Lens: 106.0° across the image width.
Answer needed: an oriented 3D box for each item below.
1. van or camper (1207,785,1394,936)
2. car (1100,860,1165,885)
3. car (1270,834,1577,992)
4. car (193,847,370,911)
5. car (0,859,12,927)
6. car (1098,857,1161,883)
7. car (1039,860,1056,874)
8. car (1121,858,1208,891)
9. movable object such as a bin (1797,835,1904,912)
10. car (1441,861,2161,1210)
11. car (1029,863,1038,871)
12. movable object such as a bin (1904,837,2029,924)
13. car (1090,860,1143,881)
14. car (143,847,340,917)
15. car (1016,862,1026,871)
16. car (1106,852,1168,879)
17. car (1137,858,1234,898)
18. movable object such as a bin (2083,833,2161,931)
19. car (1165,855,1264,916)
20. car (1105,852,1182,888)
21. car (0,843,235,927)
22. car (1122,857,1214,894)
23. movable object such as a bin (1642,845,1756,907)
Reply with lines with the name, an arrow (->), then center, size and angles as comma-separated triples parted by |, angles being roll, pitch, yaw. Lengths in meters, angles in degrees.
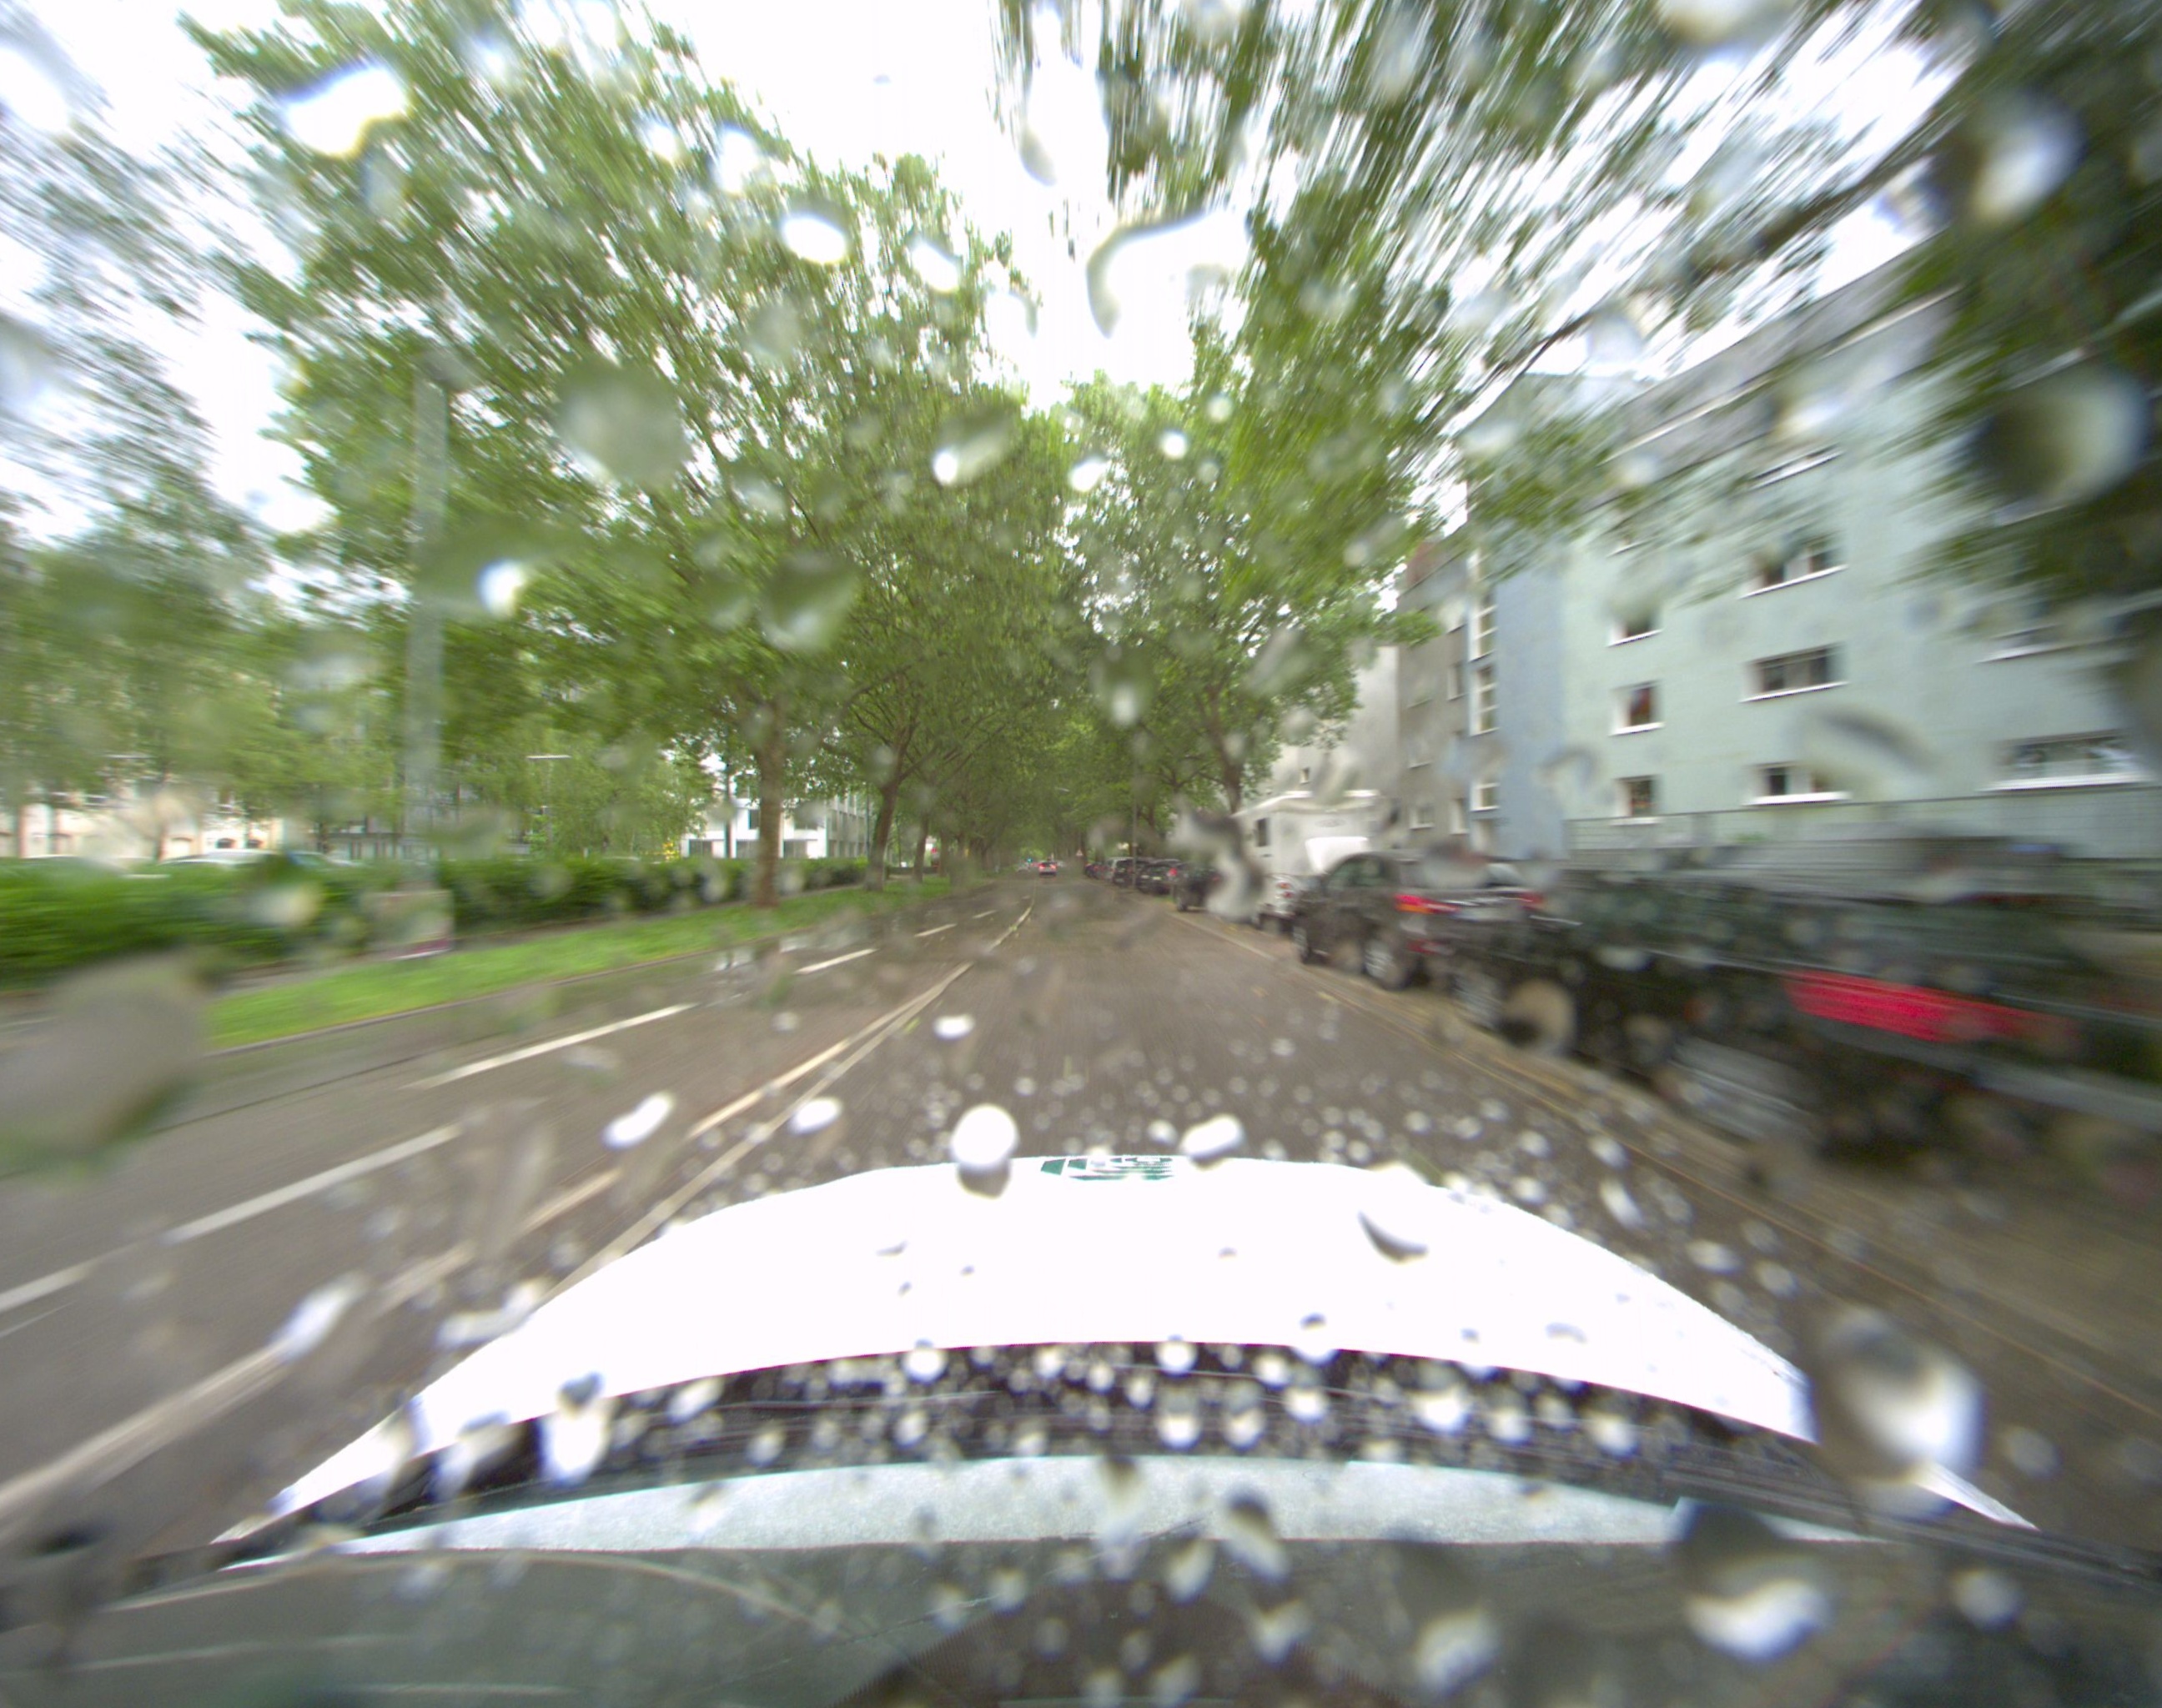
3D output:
van or camper -> 4.619, 0.145, 18.593 | 2.312, 2.807, 6.860 | 0, 0, -1
car -> 3.263, 1.187, 52.025 | 3.980, 1.513, 1.798 | 0, 0, -5
car -> 4.078, 0.674, 10.677 | 1.912, 1.620, 4.446 | 0, -2, -4
car -> -27.384, 0.818, 28.018 | 3.977, 2.013, 1.998 | -1, 0, -3
car -> -26.559, 0.877, 17.728 | 3.975, 1.551, 1.885 | 0, 0, -1
car -> 3.444, 1.134, 58.051 | 4.328, 1.762, 1.817 | 0, 0, -3
car -> -3.476, 1.343, 84.872 | 1.702, 1.411, 3.640 | -2, 0, -3
car -> 4.299, 1.027, 41.835 | 4.012, 1.601, 2.016 | 0, 0, -31
movable object such as a bin -> 15.843, 0.379, 16.790 | 1.163, 1.473, 1.215 | -3, 1, -21
car -> 4.096, 0.761, 5.422 | 1.544, 1.390, 4.148 | 0, 0, -1
car -> -9.480, 2.563, 163.318 | 1.702, 1.411, 3.640 | -2, 0, -3
movable object such as a bin -> 16.432, 0.465, 15.136 | 1.163, 1.473, 1.215 | -3, 1, -21
car -> 2.822, 1.336, 65.039 | 4.031, 1.441, 1.682 | -3, 0, -7
car -> -26.348, 0.843, 25.697 | 3.977, 2.013, 1.998 | -1, 0, -3
car -> -10.473, 2.141, 142.814 | 1.675, 1.388, 4.545 | -2, 0, -3
car -> 3.692, 0.767, 54.559 | 3.977, 1.727, 1.799 | 0, 0, -3
car -> 4.363, 0.961, 33.971 | 3.783, 1.601, 1.784 | 0, 0, -33
movable object such as a bin -> 17.243, 0.423, 13.039 | 1.163, 1.473, 1.214 | -3, 1, -22
car -> 3.844, 0.863, 23.885 | 1.692, 1.652, 2.927 | 0, 0, -19
car -> 3.435, 0.840, 44.816 | 3.881, 1.697, 1.819 | -3, 1, -31
car -> -26.491, 0.816, 22.515 | 3.976, 2.133, 1.999 | -1, 0, -2
car -> 4.052, 0.955, 37.604 | 4.015, 1.601, 1.784 | 0, 0, -33
movable object such as a bin -> 14.991, 0.514, 19.809 | 1.217, 1.432, 1.850 | 0, 0, -21
